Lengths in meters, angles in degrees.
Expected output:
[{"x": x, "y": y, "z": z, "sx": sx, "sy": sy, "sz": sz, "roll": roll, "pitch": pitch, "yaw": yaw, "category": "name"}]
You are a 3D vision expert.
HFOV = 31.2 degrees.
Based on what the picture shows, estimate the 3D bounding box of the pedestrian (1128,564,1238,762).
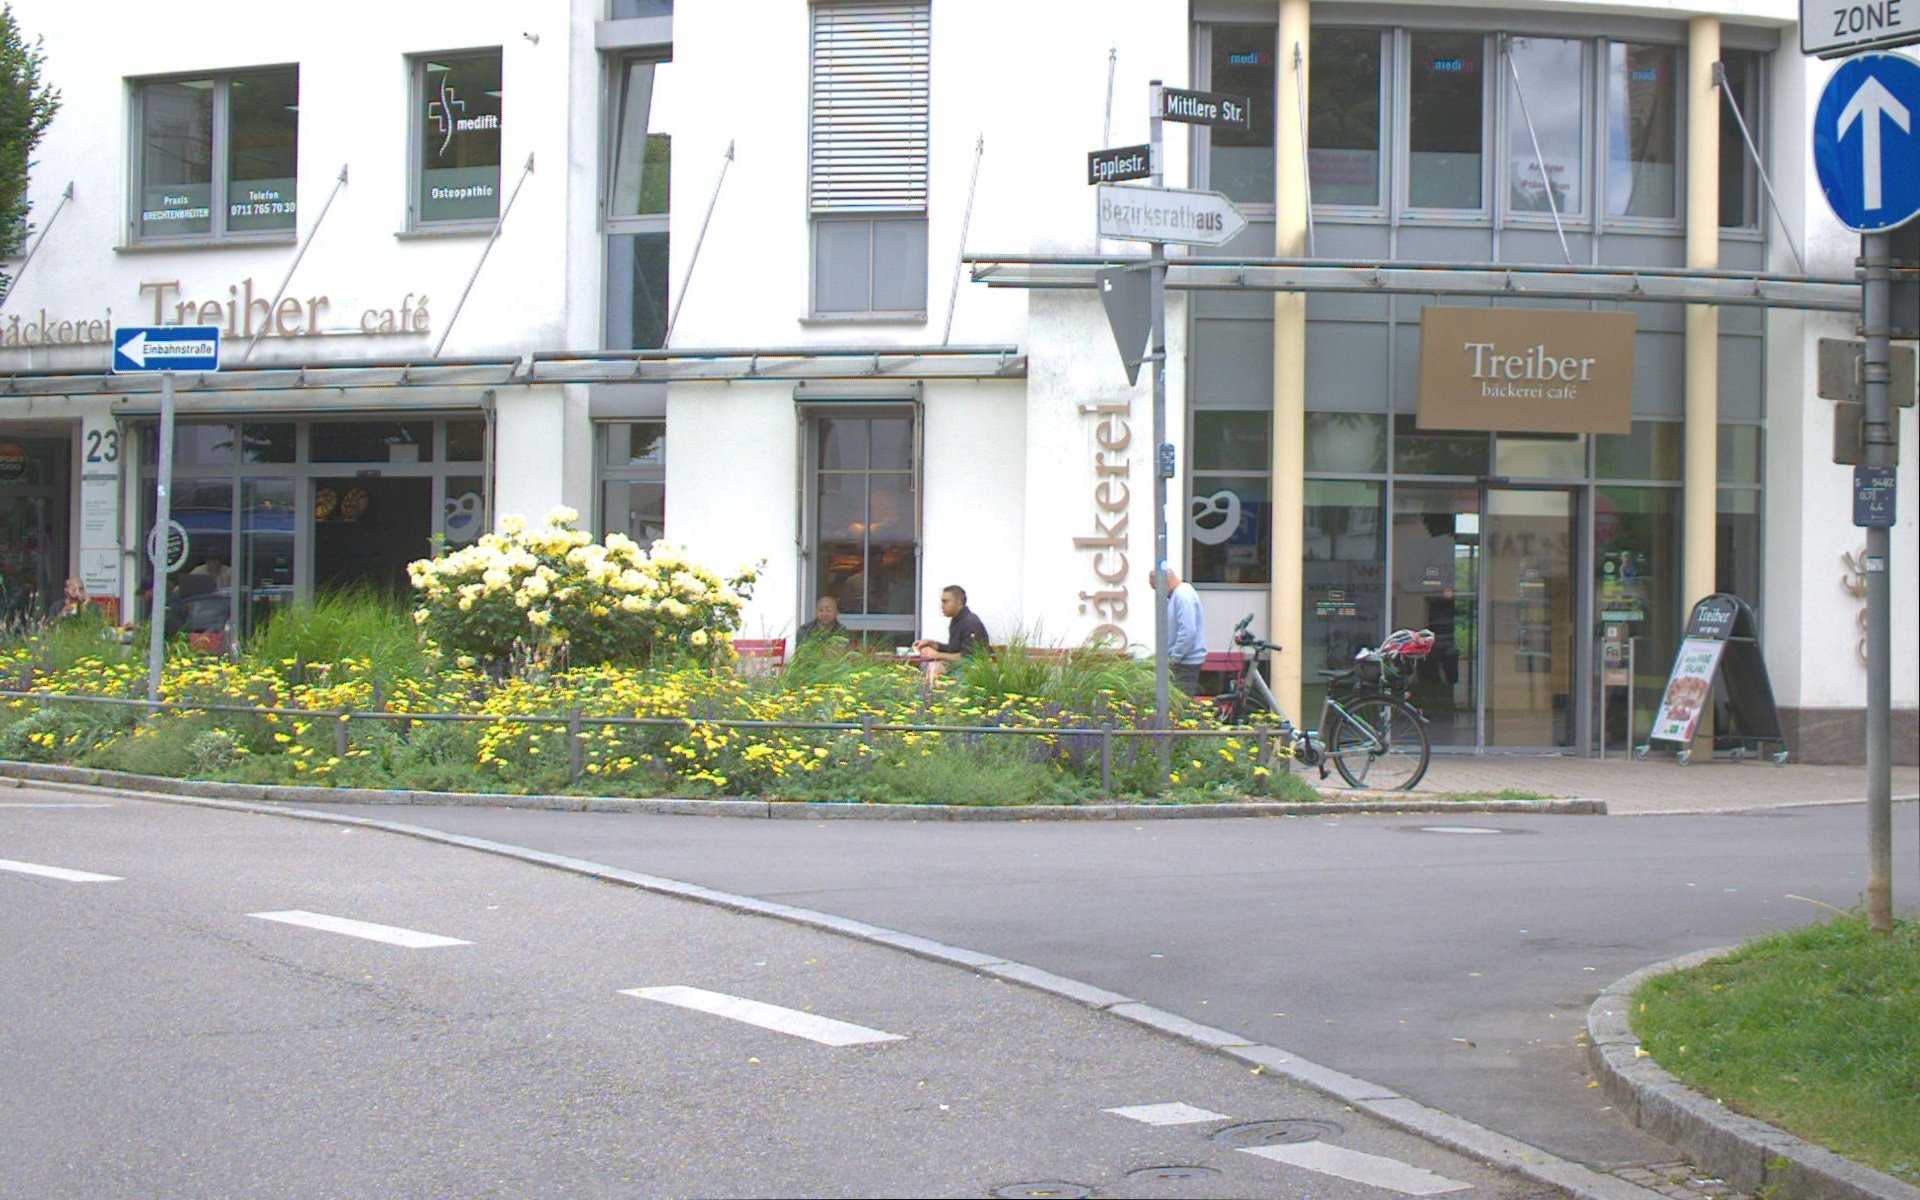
[{"x": 1.755, "y": 0.482, "z": 27.001, "sx": 0.701, "sy": 1.520, "sz": 0.867, "roll": 1, "pitch": 1, "yaw": 14, "category": "pedestrian"}]

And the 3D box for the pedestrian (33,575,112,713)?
[{"x": -8.268, "y": 0.400, "z": 32.029, "sx": 0.491, "sy": 1.267, "sz": 0.501, "roll": 1, "pitch": 1, "yaw": 27, "category": "pedestrian"}]

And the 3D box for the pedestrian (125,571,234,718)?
[{"x": -7.125, "y": 0.411, "z": 31.391, "sx": 0.567, "sy": 1.313, "sz": 0.763, "roll": 1, "pitch": -2, "yaw": 27, "category": "pedestrian"}]

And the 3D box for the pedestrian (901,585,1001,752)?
[{"x": -0.068, "y": 0.553, "z": 28.207, "sx": 0.655, "sy": 1.337, "sz": 0.695, "roll": 1, "pitch": 1, "yaw": 14, "category": "pedestrian"}]

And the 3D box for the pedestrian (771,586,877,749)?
[{"x": -1.127, "y": 0.549, "z": 28.573, "sx": 0.701, "sy": 1.327, "sz": 0.684, "roll": 1, "pitch": 1, "yaw": 14, "category": "pedestrian"}]

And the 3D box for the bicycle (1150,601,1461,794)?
[{"x": 2.377, "y": 0.653, "z": 23.700, "sx": 1.977, "sy": 1.235, "sz": 0.743, "roll": 2, "pitch": 1, "yaw": 26, "category": "bicycle"}]
